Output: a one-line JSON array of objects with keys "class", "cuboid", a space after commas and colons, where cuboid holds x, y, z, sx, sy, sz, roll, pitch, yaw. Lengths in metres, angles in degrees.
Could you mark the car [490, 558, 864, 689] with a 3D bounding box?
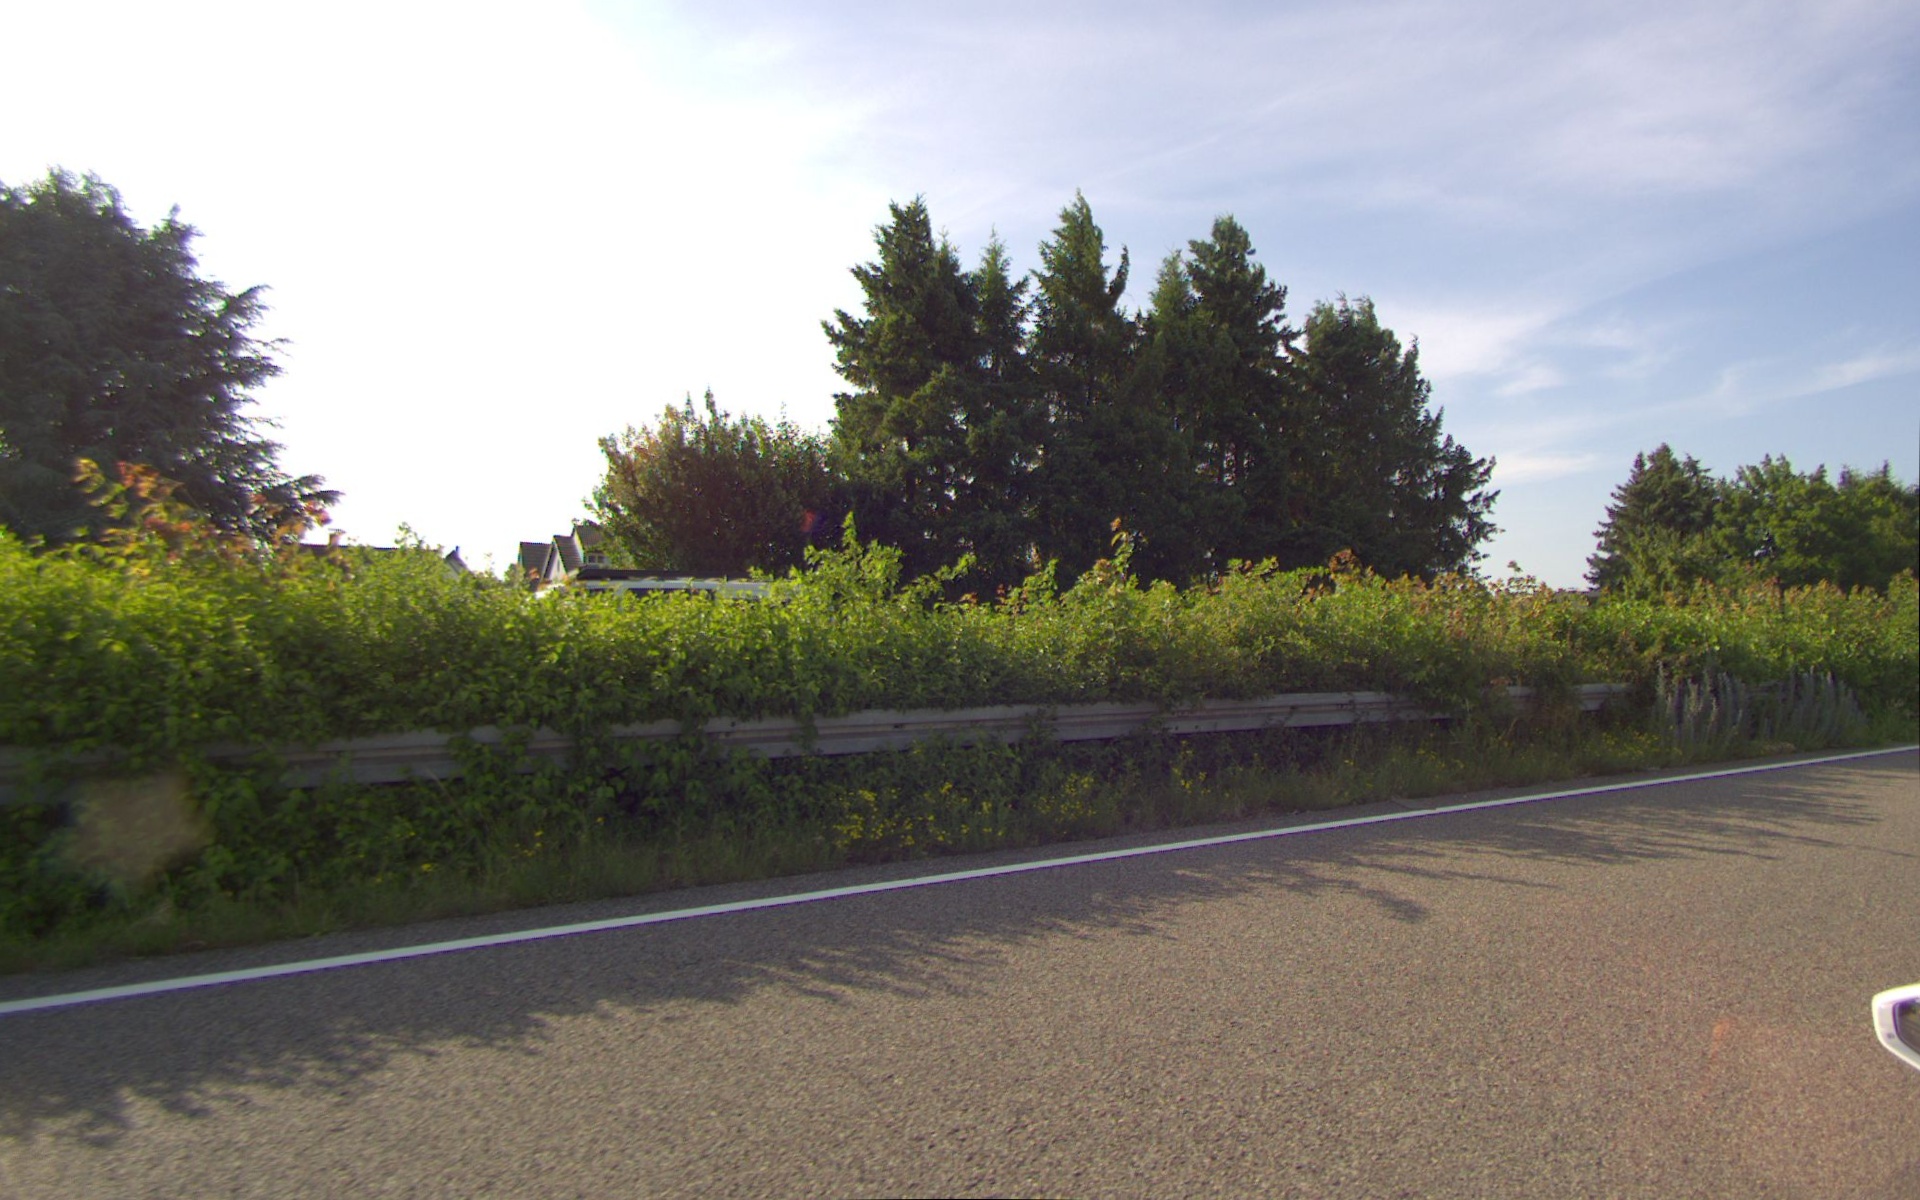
[{"class": "car", "cuboid": [-3.582, 0.309, 12.964, 4.346, 1.441, 1.724, 2, -1, -31]}]
